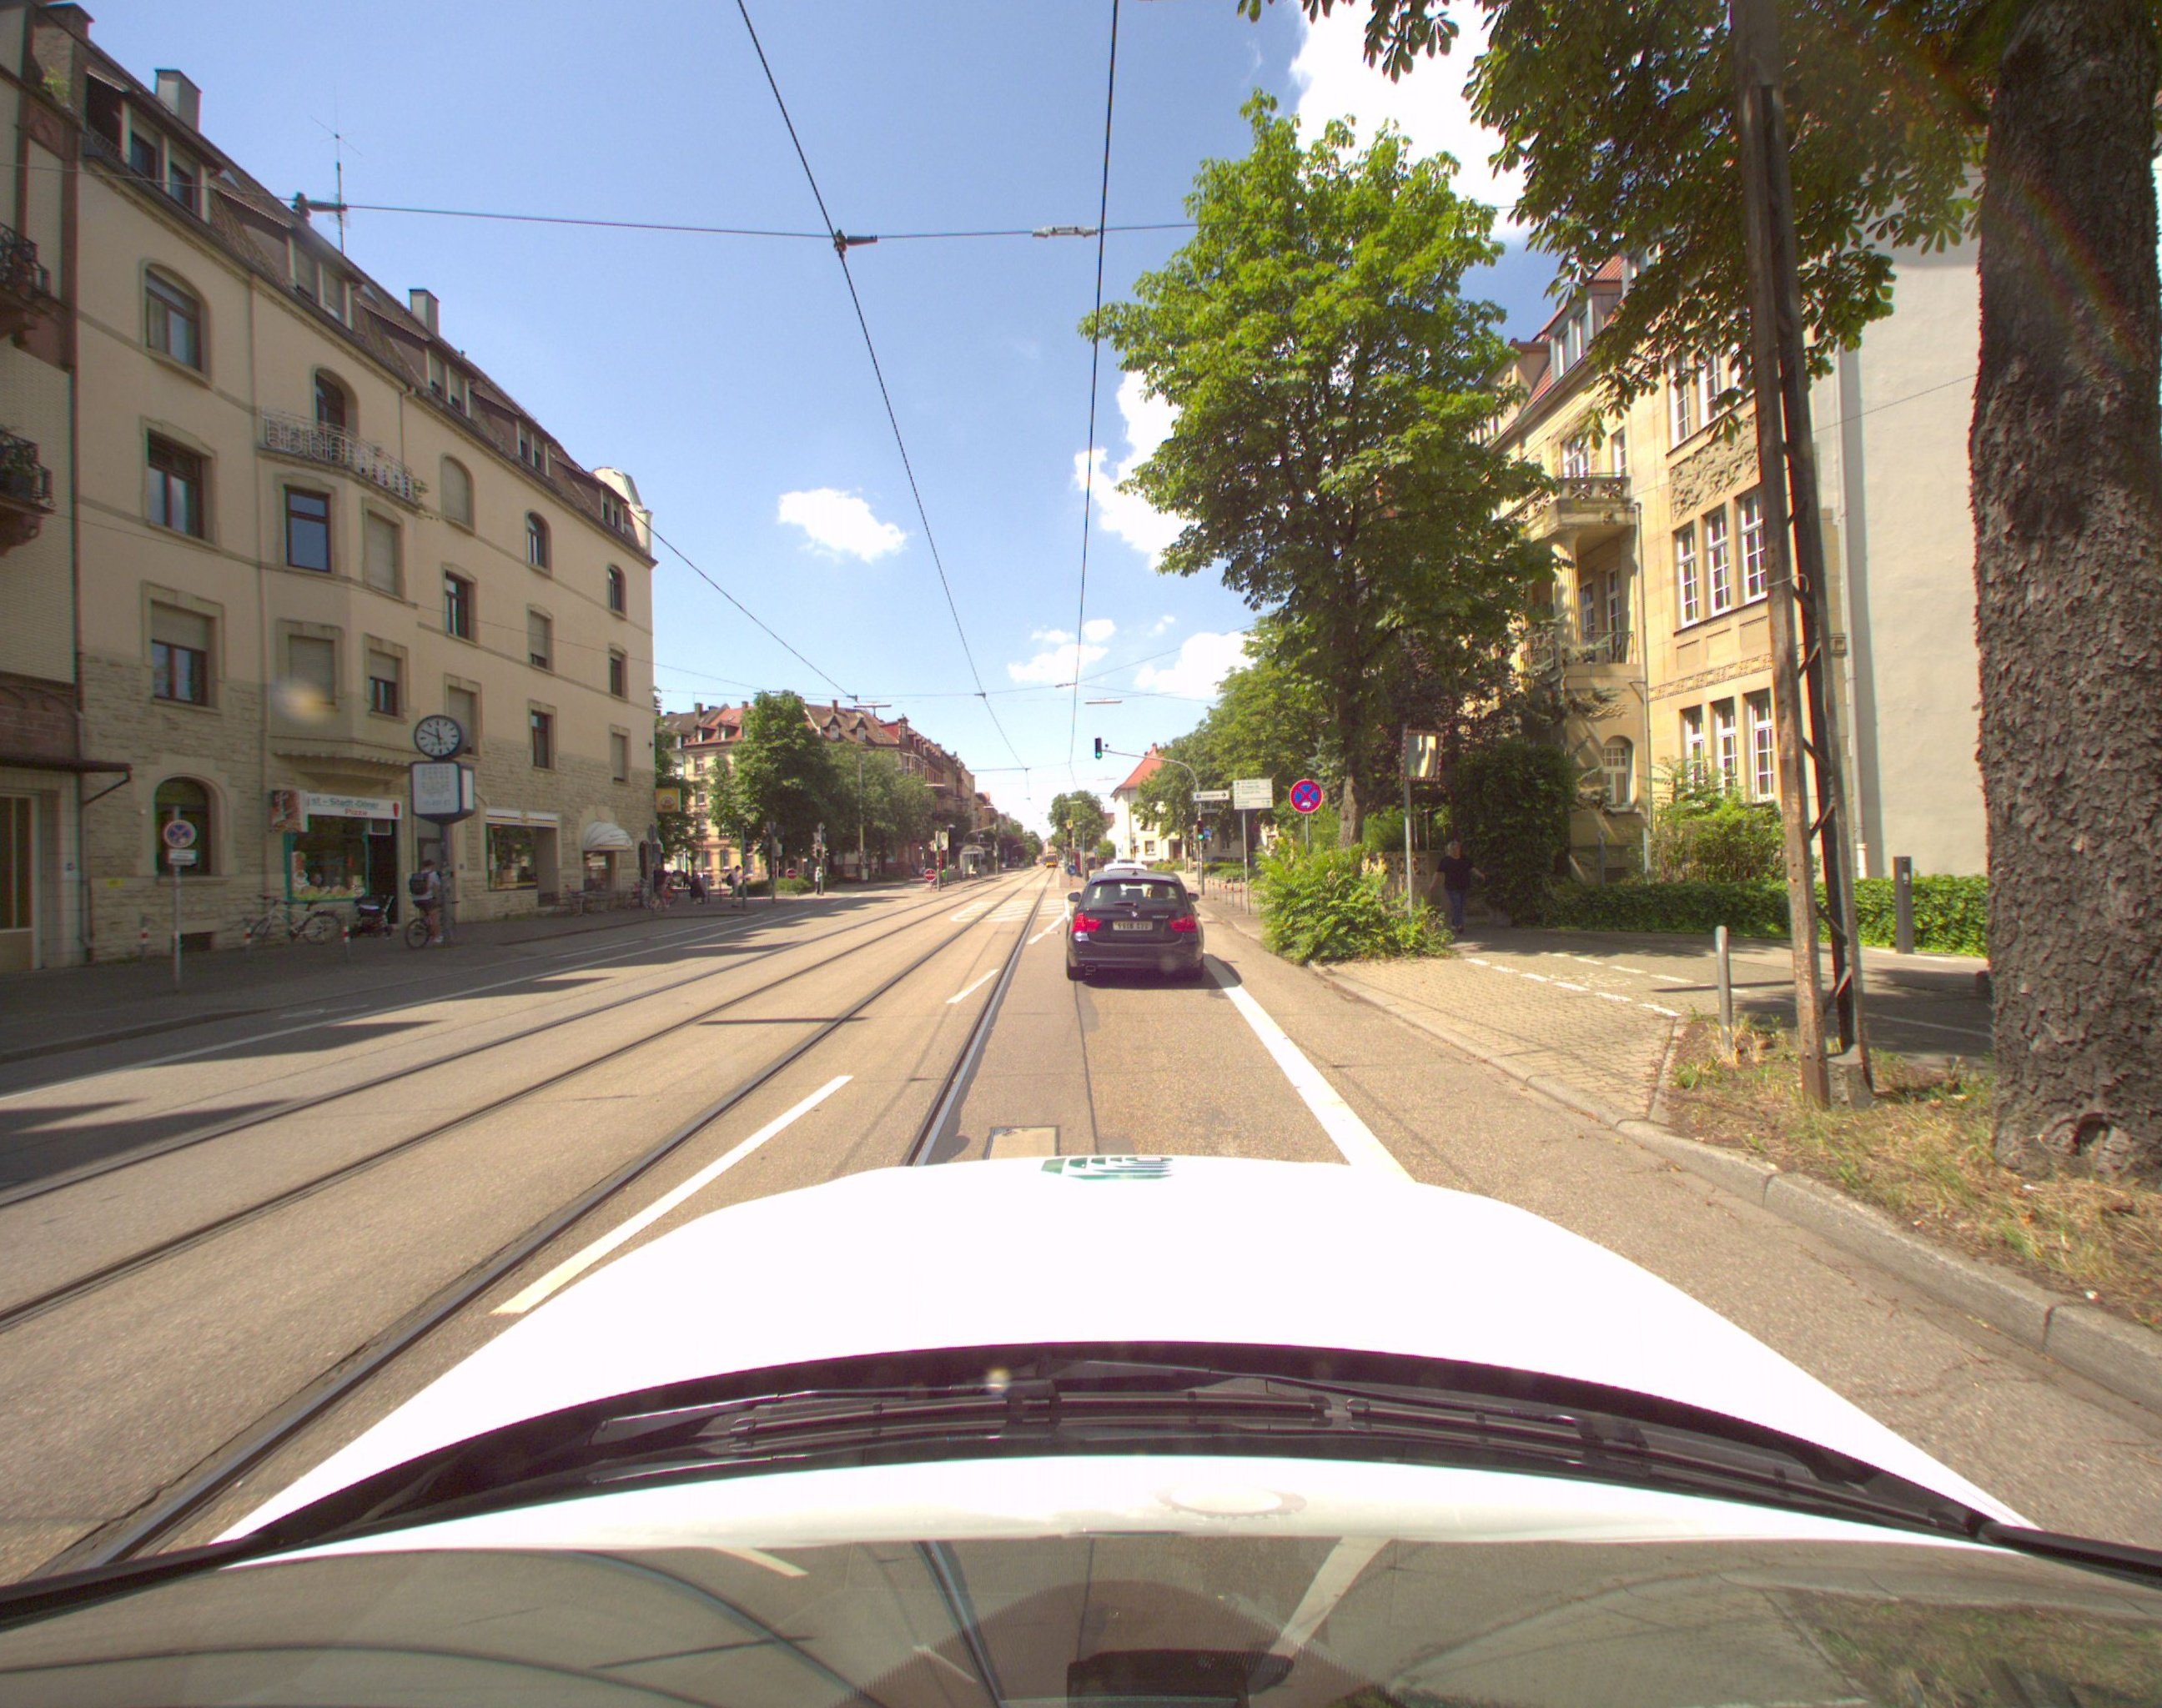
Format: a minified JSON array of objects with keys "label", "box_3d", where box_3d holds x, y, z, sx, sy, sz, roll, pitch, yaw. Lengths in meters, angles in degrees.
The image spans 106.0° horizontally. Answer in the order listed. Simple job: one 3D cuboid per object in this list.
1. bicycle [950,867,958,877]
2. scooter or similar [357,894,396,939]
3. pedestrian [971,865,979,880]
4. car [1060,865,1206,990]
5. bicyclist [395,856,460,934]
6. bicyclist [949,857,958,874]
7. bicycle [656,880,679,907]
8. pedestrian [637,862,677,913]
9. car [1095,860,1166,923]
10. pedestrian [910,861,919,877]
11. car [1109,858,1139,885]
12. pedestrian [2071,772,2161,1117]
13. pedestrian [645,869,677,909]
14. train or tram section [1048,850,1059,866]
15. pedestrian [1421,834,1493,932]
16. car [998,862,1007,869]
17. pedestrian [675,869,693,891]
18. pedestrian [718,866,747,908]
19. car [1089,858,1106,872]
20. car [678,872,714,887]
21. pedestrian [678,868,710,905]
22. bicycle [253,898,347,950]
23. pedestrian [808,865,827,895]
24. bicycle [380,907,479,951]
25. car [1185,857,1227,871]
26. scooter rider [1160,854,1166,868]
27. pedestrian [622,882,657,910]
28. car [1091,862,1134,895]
[{"label":"bicycle","box_3d":[-13.860,1.950,88.820,0.727,1.101,1.713,-2,0,-3]},{"label":"scooter or similar","box_3d":[-17.618,1.547,20.349,0.700,1.044,1.195,1,-2,-42]},{"label":"pedestrian","box_3d":[-8.963,1.563,68.659,0.613,1.243,0.626,-2,-1,-8]},{"label":"car","box_3d":[0.758,0.893,11.883,1.715,1.409,4.569,0,0,4]},{"label":"bicyclist","box_3d":[-14.305,0.884,17.851,0.755,1.663,0.829,0,-1,-7]},{"label":"bicyclist","box_3d":[-13.906,1.264,88.836,0.721,1.870,0.825,-2,-1,-2]},{"label":"bicycle","box_3d":[-18.565,1.779,36.538,0.547,1.128,1.663,-1,-3,-39]},{"label":"pedestrian","box_3d":[-16.044,1.242,30.851,0.898,1.891,1.163,-1,-1,-2]},{"label":"car","box_3d":[1.295,0.946,21.888,1.678,1.484,3.686,-2,0,2]},{"label":"pedestrian","box_3d":[-19.917,1.814,97.536,0.632,1.811,0.745,-2,-1,33]},{"label":"car","box_3d":[2.558,1.036,48.989,1.685,1.514,3.823,-2,-1,2]},{"label":"pedestrian","box_3d":[5.533,0.420,3.725,0.764,1.651,0.974,-2,-1,0]},{"label":"pedestrian","box_3d":[-17.335,1.439,33.648,0.805,1.595,0.918,-2,-1,-3]},{"label":"train or tram section","box_3d":[-6.119,0.909,180.362,2.184,3.482,8.838,-2,0,-2]},{"label":"pedestrian","box_3d":[6.619,0.506,14.382,0.853,1.646,0.837,-2,-1,4]},{"label":"car","box_3d":[-18.638,2.747,192.886,1.787,1.586,3.986,0,-1,-10]},{"label":"pedestrian","box_3d":[-34.346,2.259,70.483,0.995,1.868,1.019,-2,-1,4]},{"label":"pedestrian","box_3d":[-14.547,1.363,33.970,0.857,1.732,0.775,-1,-1,0]},{"label":"car","box_3d":[2.423,1.623,119.143,1.990,1.849,3.993,-2,0,-5]},{"label":"car","box_3d":[-41.610,2.753,88.002,3.429,1.471,1.694,-2,-1,23]},{"label":"pedestrian","box_3d":[-17.582,1.490,37.019,1.013,1.635,0.868,-2,-1,35]},{"label":"bicycle","box_3d":[-17.373,1.530,18.154,0.366,1.066,1.472,-1,-2,22]},{"label":"pedestrian","box_3d":[-15.778,1.564,48.808,0.843,1.723,0.910,-1,-1,-32]},{"label":"bicycle","box_3d":[-14.307,1.628,17.941,0.750,0.818,1.818,1,-1,-3]},{"label":"car","box_3d":[13.081,1.061,85.409,3.948,1.243,1.634,-2,-1,33]},{"label":"scooter rider","box_3d":[9.799,0.852,97.624,0.590,1.687,0.527,-2,-1,-7]},{"label":"pedestrian","box_3d":[-17.881,1.689,33.014,0.913,1.077,0.882,-2,-1,-1]},{"label":"car","box_3d":[1.360,1.069,36.583,1.686,1.323,3.819,-2,-1,-1]}]
